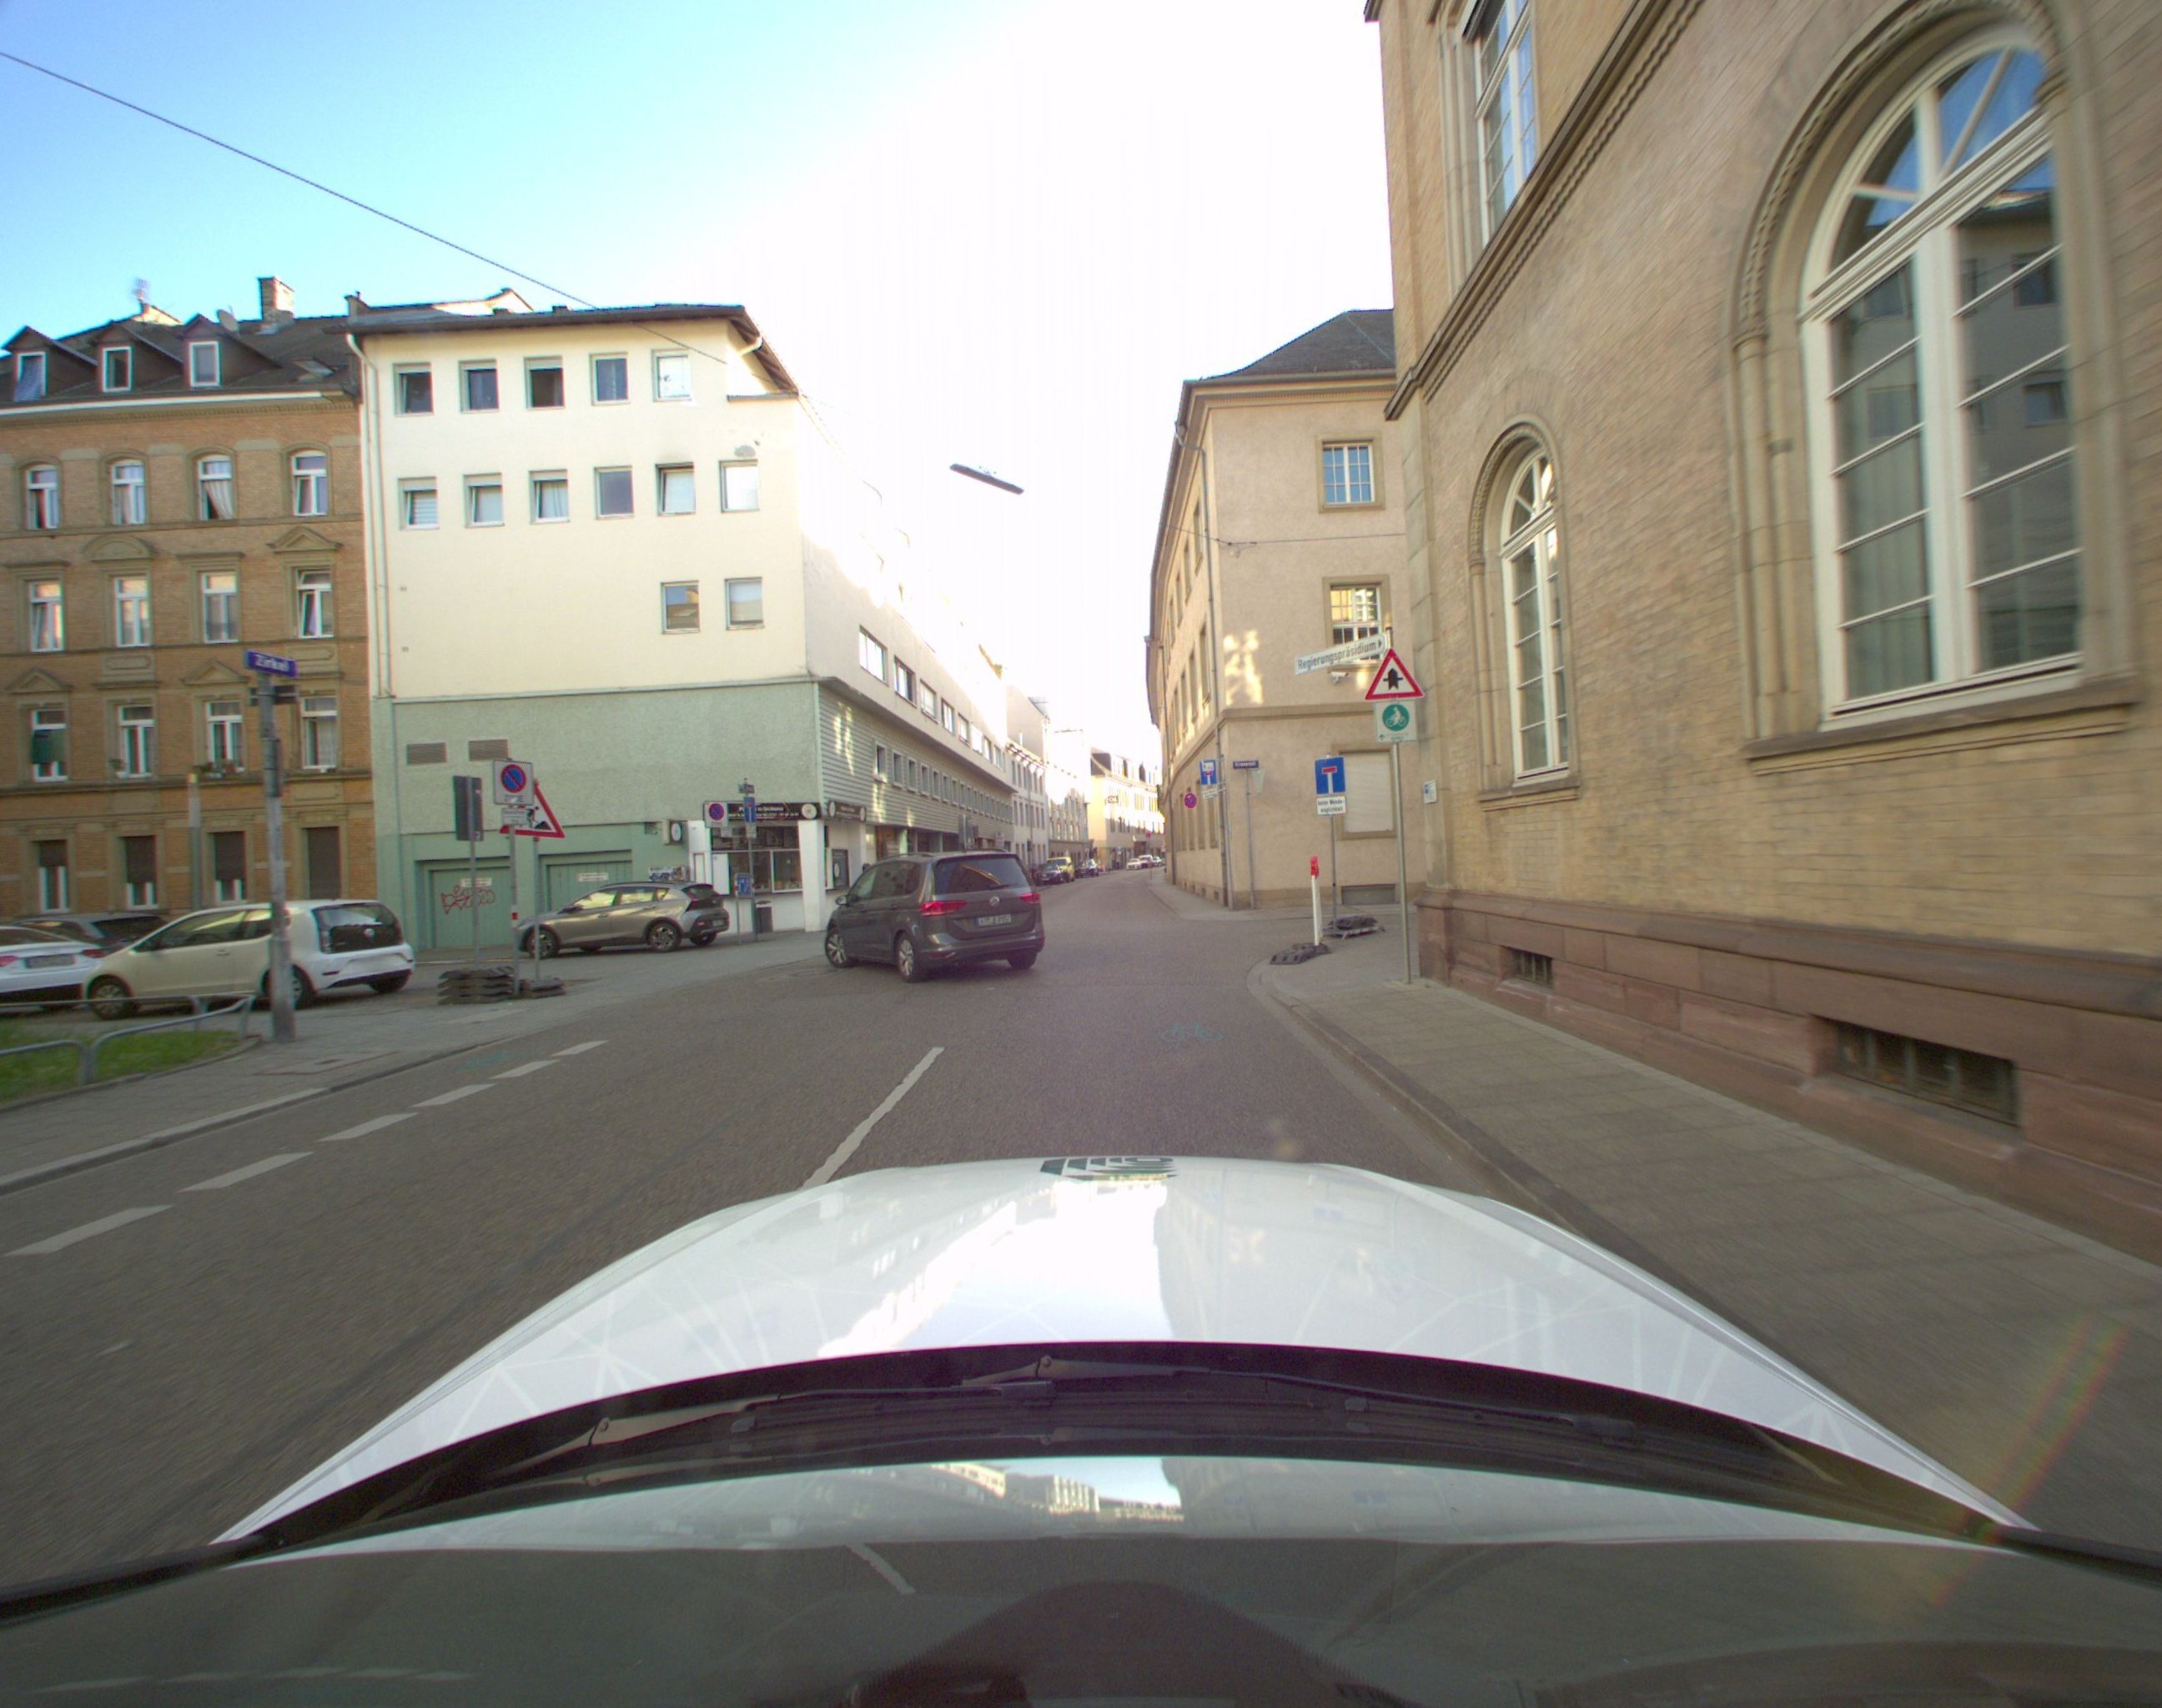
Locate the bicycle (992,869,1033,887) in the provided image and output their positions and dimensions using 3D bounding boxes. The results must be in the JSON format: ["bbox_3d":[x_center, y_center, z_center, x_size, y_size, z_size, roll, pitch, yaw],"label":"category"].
[{"bbox_3d":[-4.380,1.522,52.140,2.517,1.054,0.838,-3,0,26],"label":"bicycle"}]

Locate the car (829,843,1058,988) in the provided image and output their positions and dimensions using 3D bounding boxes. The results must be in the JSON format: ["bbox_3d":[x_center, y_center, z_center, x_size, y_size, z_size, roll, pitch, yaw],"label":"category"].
[{"bbox_3d":[-2.102,0.728,11.444,1.774,1.607,3.960,-3,0,-31],"label":"car"}]

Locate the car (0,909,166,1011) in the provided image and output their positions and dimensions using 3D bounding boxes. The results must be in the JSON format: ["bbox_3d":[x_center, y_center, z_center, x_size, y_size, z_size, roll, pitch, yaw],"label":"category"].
[{"bbox_3d":[-19.848,1.938,14.628,4.595,1.542,2.001,-3,0,2],"label":"car"}]

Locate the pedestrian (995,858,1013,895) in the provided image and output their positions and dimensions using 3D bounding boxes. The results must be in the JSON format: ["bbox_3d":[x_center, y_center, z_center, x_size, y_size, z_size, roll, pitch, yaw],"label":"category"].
[{"bbox_3d":[-3.549,1.029,37.617,0.660,1.684,0.480,-3,-1,1],"label":"pedestrian"}]

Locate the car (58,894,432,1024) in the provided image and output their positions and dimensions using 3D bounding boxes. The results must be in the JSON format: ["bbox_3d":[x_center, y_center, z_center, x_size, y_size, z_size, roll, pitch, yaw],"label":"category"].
[{"bbox_3d":[-11.867,1.451,11.749,3.487,1.443,1.814,-3,0,2],"label":"car"}]

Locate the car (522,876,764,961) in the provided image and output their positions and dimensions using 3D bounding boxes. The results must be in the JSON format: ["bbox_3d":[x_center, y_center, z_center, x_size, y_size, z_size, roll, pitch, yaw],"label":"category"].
[{"bbox_3d":[-9.330,1.350,17.604,4.082,1.443,1.949,-3,0,2],"label":"car"}]

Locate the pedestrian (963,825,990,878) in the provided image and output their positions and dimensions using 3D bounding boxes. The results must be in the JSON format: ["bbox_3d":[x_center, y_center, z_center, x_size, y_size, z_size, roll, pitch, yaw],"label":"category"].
[{"bbox_3d":[-3.649,-0.089,28.556,0.550,1.829,0.735,-3,-1,24],"label":"pedestrian"}]

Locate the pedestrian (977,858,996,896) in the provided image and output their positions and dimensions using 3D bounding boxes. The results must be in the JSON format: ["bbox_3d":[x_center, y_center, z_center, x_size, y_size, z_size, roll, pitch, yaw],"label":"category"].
[{"bbox_3d":[-4.347,1.058,37.565,0.709,1.684,0.480,-3,-1,1],"label":"pedestrian"}]

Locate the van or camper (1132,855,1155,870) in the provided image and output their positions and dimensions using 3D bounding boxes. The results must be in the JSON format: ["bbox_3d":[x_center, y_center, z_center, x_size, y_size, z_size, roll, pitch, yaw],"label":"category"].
[{"bbox_3d":[8.715,1.167,113.437,1.978,2.013,5.021,-3,0,17],"label":"van or camper"}]

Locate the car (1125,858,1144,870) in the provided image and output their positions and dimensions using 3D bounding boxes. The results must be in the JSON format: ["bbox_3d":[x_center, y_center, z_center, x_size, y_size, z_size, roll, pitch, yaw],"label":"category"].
[{"bbox_3d":[7.080,1.355,107.714,1.721,1.468,4.016,-3,0,15],"label":"car"}]

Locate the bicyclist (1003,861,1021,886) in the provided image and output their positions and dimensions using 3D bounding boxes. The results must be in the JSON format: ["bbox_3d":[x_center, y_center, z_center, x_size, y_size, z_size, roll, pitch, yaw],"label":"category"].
[{"bbox_3d":[-4.402,1.231,52.140,0.750,1.561,0.838,-3,0,26],"label":"bicyclist"}]

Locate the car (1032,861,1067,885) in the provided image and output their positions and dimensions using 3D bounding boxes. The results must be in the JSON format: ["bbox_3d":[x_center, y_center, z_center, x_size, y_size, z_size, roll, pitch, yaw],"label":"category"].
[{"bbox_3d":[-2.110,1.263,55.609,1.856,1.468,3.840,-3,0,6],"label":"car"}]

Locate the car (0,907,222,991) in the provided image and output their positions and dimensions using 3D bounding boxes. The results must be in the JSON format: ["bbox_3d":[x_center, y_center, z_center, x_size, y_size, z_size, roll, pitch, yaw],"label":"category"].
[{"bbox_3d":[-21.536,2.045,17.601,4.033,1.501,1.724,-3,0,0],"label":"car"}]

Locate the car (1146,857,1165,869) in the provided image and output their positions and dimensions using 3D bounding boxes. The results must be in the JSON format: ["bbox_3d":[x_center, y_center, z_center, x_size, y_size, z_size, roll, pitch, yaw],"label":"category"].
[{"bbox_3d":[10.979,1.296,119.708,1.811,1.726,4.019,-3,0,18],"label":"car"}]

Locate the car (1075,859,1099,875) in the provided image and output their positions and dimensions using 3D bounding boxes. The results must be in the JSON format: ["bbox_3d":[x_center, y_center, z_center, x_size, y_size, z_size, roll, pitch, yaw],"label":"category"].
[{"bbox_3d":[0.574,1.217,77.510,1.856,1.468,3.840,-3,0,6],"label":"car"}]

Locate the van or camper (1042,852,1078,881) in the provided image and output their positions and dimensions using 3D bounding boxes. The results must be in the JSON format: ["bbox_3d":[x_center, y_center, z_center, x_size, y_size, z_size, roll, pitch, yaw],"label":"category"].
[{"bbox_3d":[-1.556,0.927,61.344,1.983,2.013,4.491,-3,0,7],"label":"van or camper"}]

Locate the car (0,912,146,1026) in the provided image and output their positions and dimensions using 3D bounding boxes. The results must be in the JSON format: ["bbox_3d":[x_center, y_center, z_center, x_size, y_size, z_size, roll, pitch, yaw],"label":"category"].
[{"bbox_3d":[-16.842,1.721,11.872,4.340,1.443,1.814,-3,0,2],"label":"car"}]
